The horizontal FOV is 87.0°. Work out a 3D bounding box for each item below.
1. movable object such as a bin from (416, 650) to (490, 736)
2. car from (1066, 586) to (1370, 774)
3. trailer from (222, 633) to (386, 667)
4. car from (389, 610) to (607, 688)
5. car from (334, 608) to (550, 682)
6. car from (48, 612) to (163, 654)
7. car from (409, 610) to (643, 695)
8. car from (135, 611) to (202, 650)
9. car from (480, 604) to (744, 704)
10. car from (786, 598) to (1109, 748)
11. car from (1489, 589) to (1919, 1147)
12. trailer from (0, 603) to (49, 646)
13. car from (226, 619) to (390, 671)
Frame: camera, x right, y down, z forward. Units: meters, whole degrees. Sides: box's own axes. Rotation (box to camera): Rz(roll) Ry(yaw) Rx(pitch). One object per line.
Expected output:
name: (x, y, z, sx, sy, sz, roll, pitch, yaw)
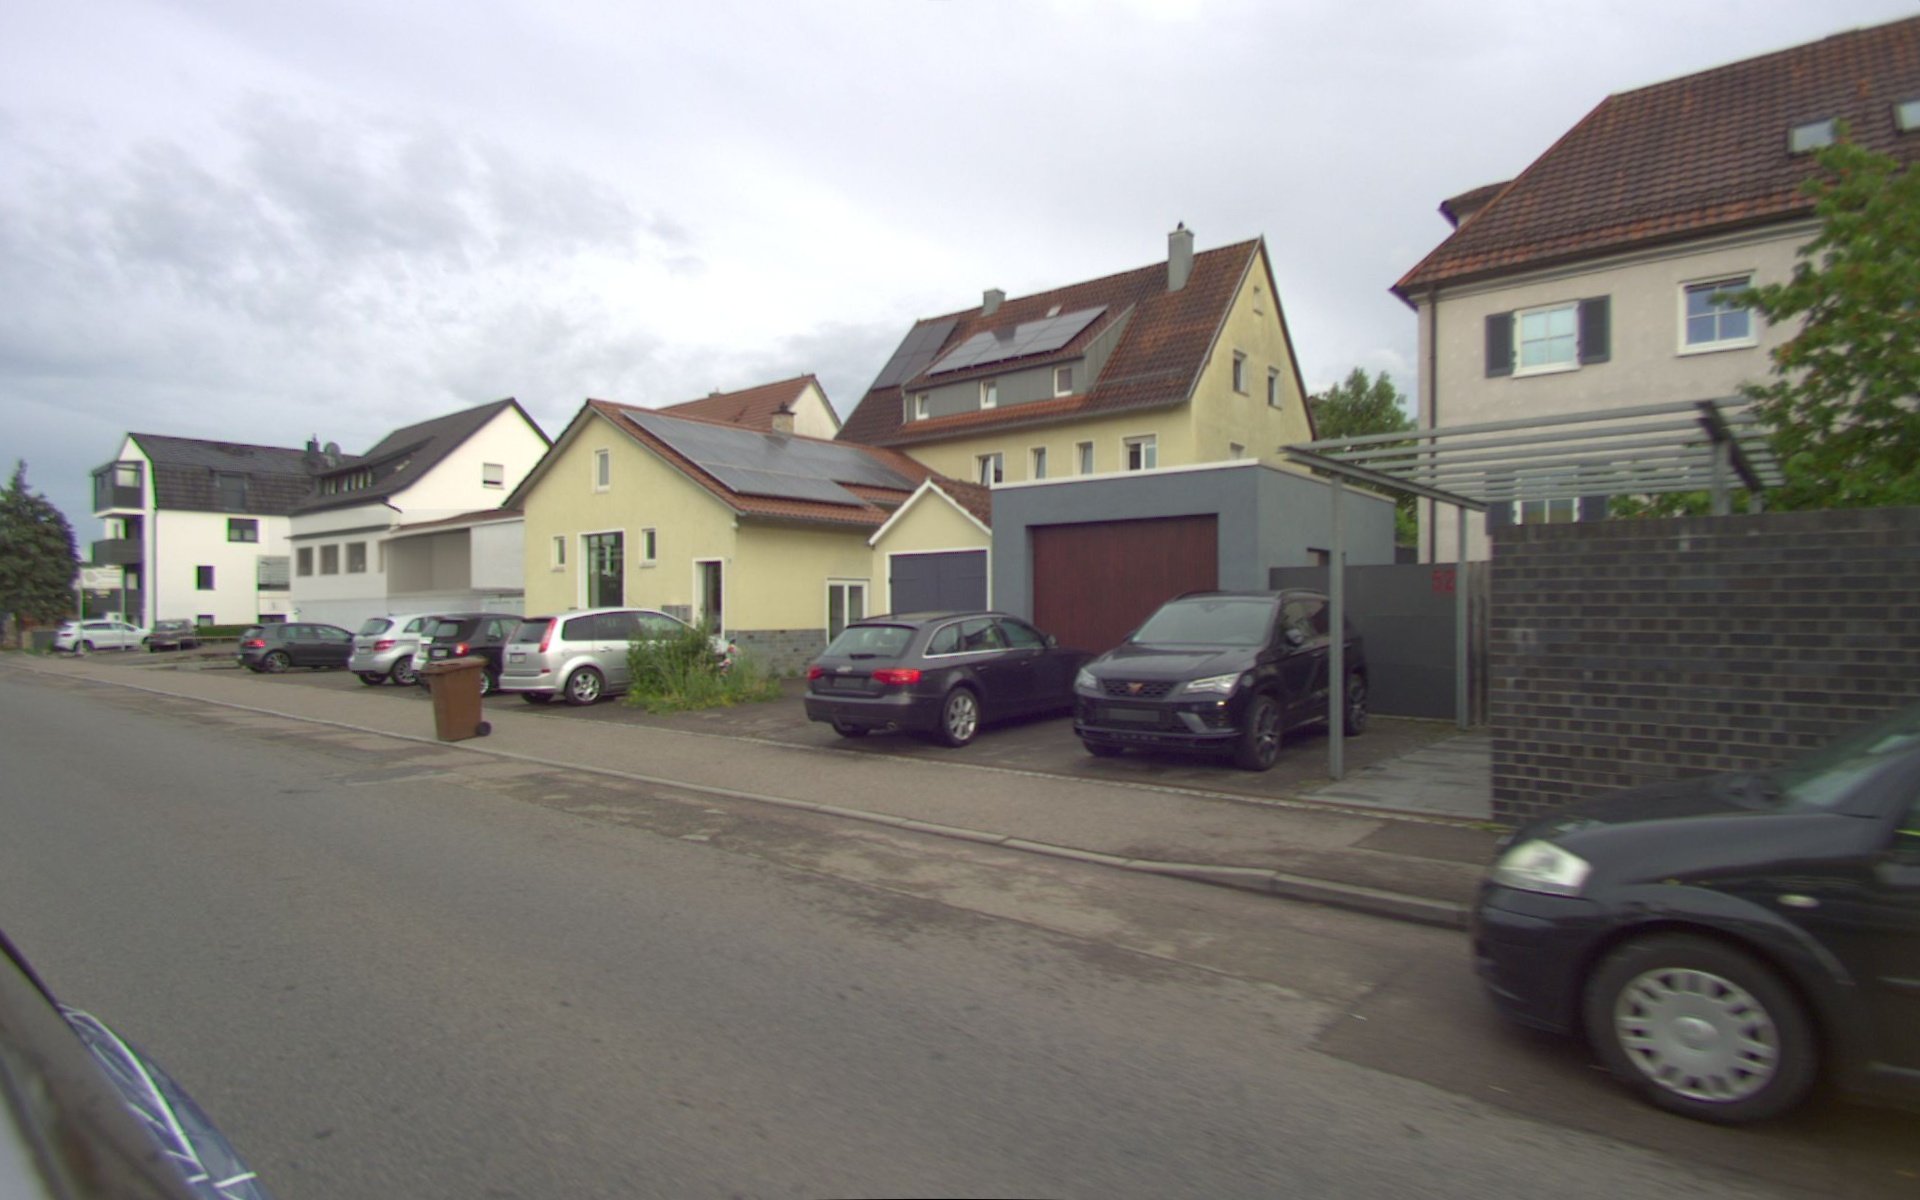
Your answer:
movable object such as a bin: (-6.822, 1.236, 13.612, 0.686, 1.065, 0.590, -4, 2, 41)
car: (2.723, 0.637, 10.121, 1.753, 1.468, 3.553, -1, 1, 36)
trailer: (-21.269, 1.597, 32.940, 1.792, 0.950, 4.156, -2, -1, 38)
car: (-10.143, 1.016, 22.460, 1.811, 1.544, 4.046, -2, -1, 37)
car: (-11.941, 0.980, 23.550, 1.995, 1.544, 4.049, -1, -1, 35)
car: (-41.960, 1.591, 49.754, 1.998, 1.659, 3.949, -2, 2, 39)
car: (-8.620, 0.977, 20.428, 1.752, 1.514, 4.049, -2, -1, 35)
car: (-37.273, 1.414, 47.638, 4.000, 1.541, 1.800, -1, 4, 43)
car: (-5.965, 0.855, 17.753, 1.880, 1.525, 4.046, -2, -1, 37)
car: (0.022, 0.737, 12.112, 1.711, 1.424, 4.046, -2, 0, 38)
car: (3.730, 0.737, 2.848, 3.705, 1.518, 1.592, -1, -2, 41)
trailer: (-68.875, 1.783, 73.341, 2.166, 3.069, 4.009, -1, 0, 39)
car: (-19.640, 1.309, 30.590, 1.766, 1.449, 3.835, -2, -2, 40)
